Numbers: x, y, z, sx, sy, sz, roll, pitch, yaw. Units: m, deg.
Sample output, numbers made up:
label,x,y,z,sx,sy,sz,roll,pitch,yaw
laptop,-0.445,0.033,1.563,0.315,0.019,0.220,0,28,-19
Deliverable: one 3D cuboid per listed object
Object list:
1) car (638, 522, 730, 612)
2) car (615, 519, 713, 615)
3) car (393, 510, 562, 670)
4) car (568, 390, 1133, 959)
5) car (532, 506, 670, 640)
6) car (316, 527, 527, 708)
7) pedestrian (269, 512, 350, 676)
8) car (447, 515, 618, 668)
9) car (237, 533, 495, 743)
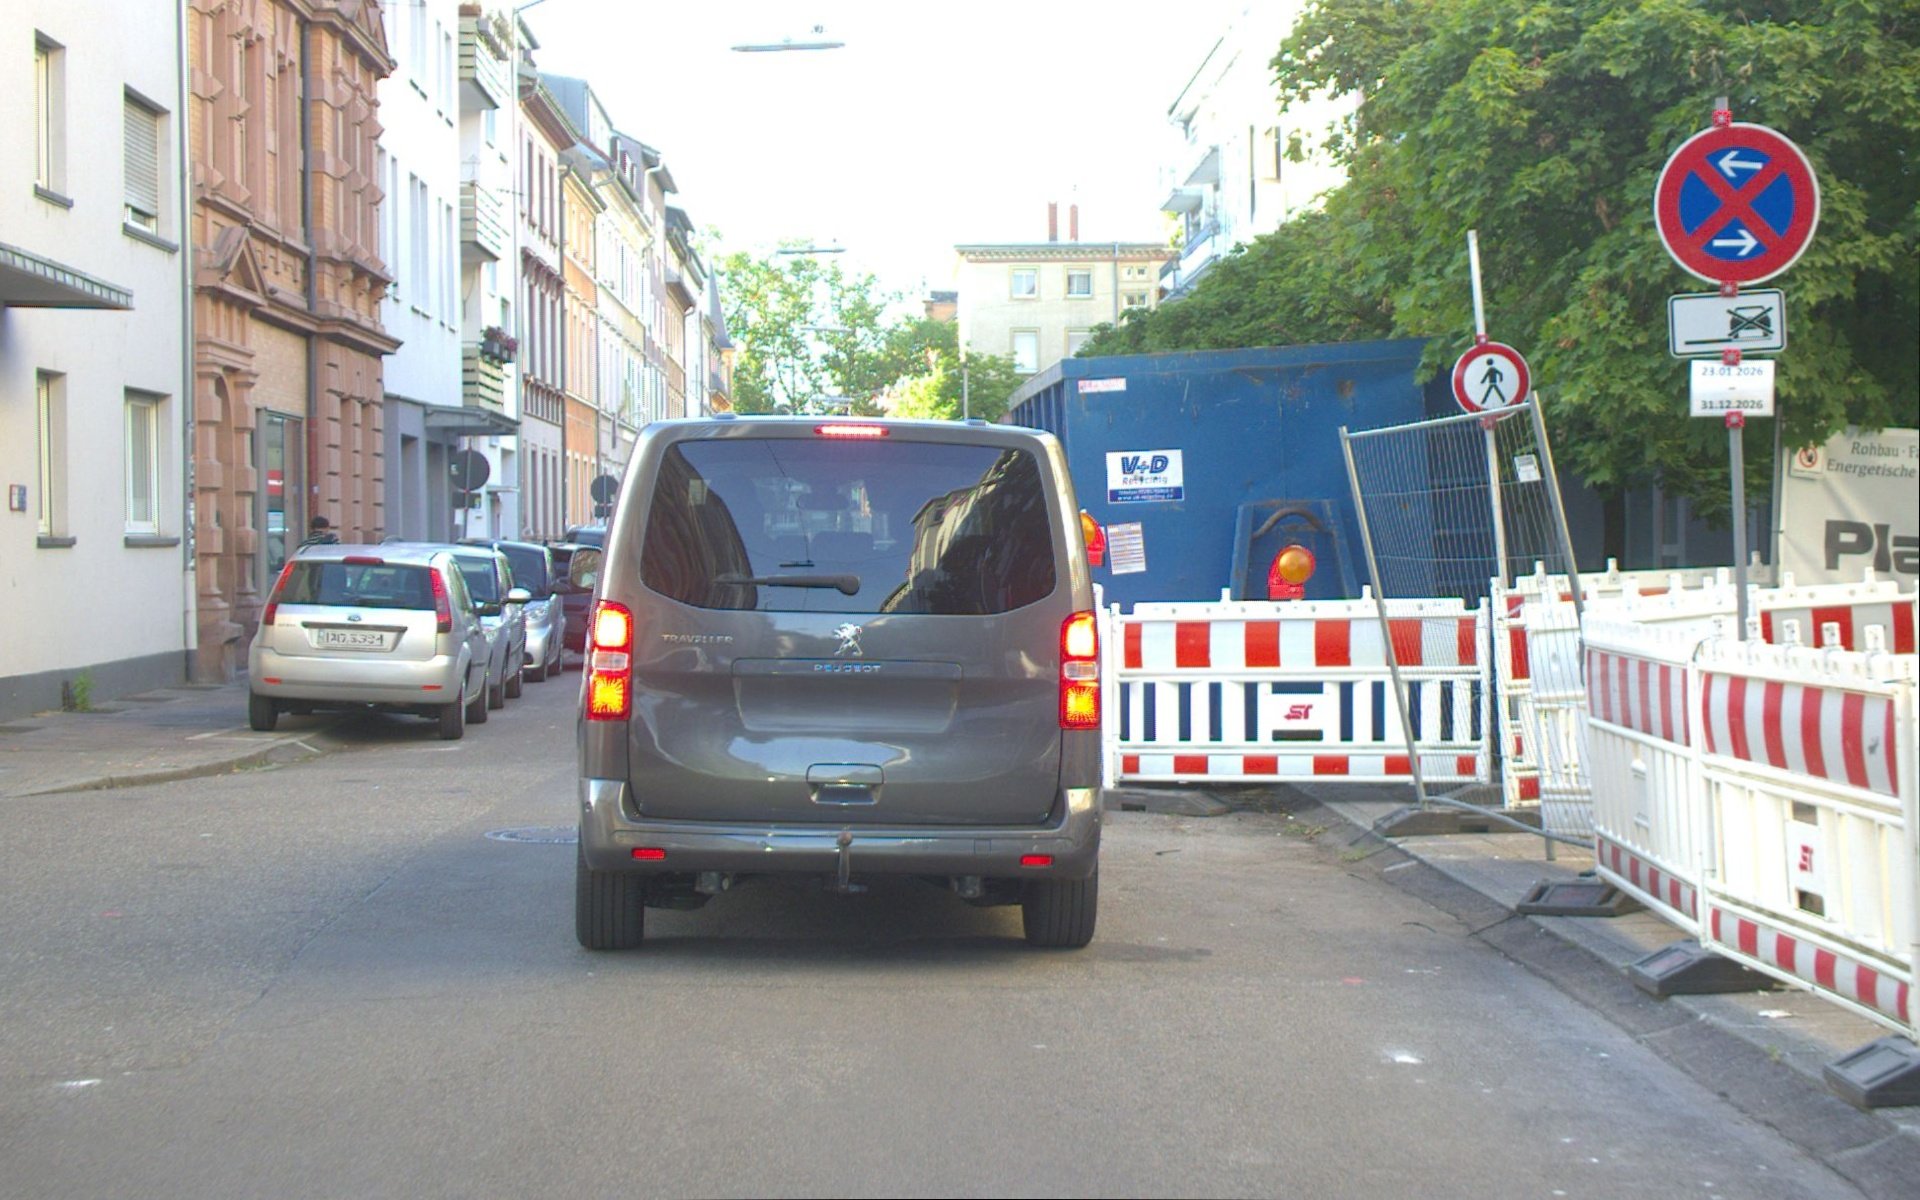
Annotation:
label,x,y,z,sx,sy,sz,roll,pitch,yaw
car,-6.277,-0.744,77.913,1.891,1.840,4.350,4,0,-5
car,-6.291,-0.702,72.987,1.891,1.840,4.350,4,0,-5
car,-5.546,-0.124,39.808,1.666,1.660,3.092,4,0,-5
car,-0.546,0.233,13.541,1.865,1.880,4.236,0,0,-5
car,-5.478,-0.423,52.816,1.891,1.840,4.350,4,0,-5
car,-5.068,0.145,32.712,1.656,1.520,3.418,4,0,-5
pedestrian,-6.665,-0.065,35.227,0.740,1.659,0.704,-1,1,-6
car,-5.358,-0.121,43.449,1.891,1.714,3.755,4,0,-5
car,-4.667,0.270,27.393,1.656,1.455,3.418,4,0,-5
